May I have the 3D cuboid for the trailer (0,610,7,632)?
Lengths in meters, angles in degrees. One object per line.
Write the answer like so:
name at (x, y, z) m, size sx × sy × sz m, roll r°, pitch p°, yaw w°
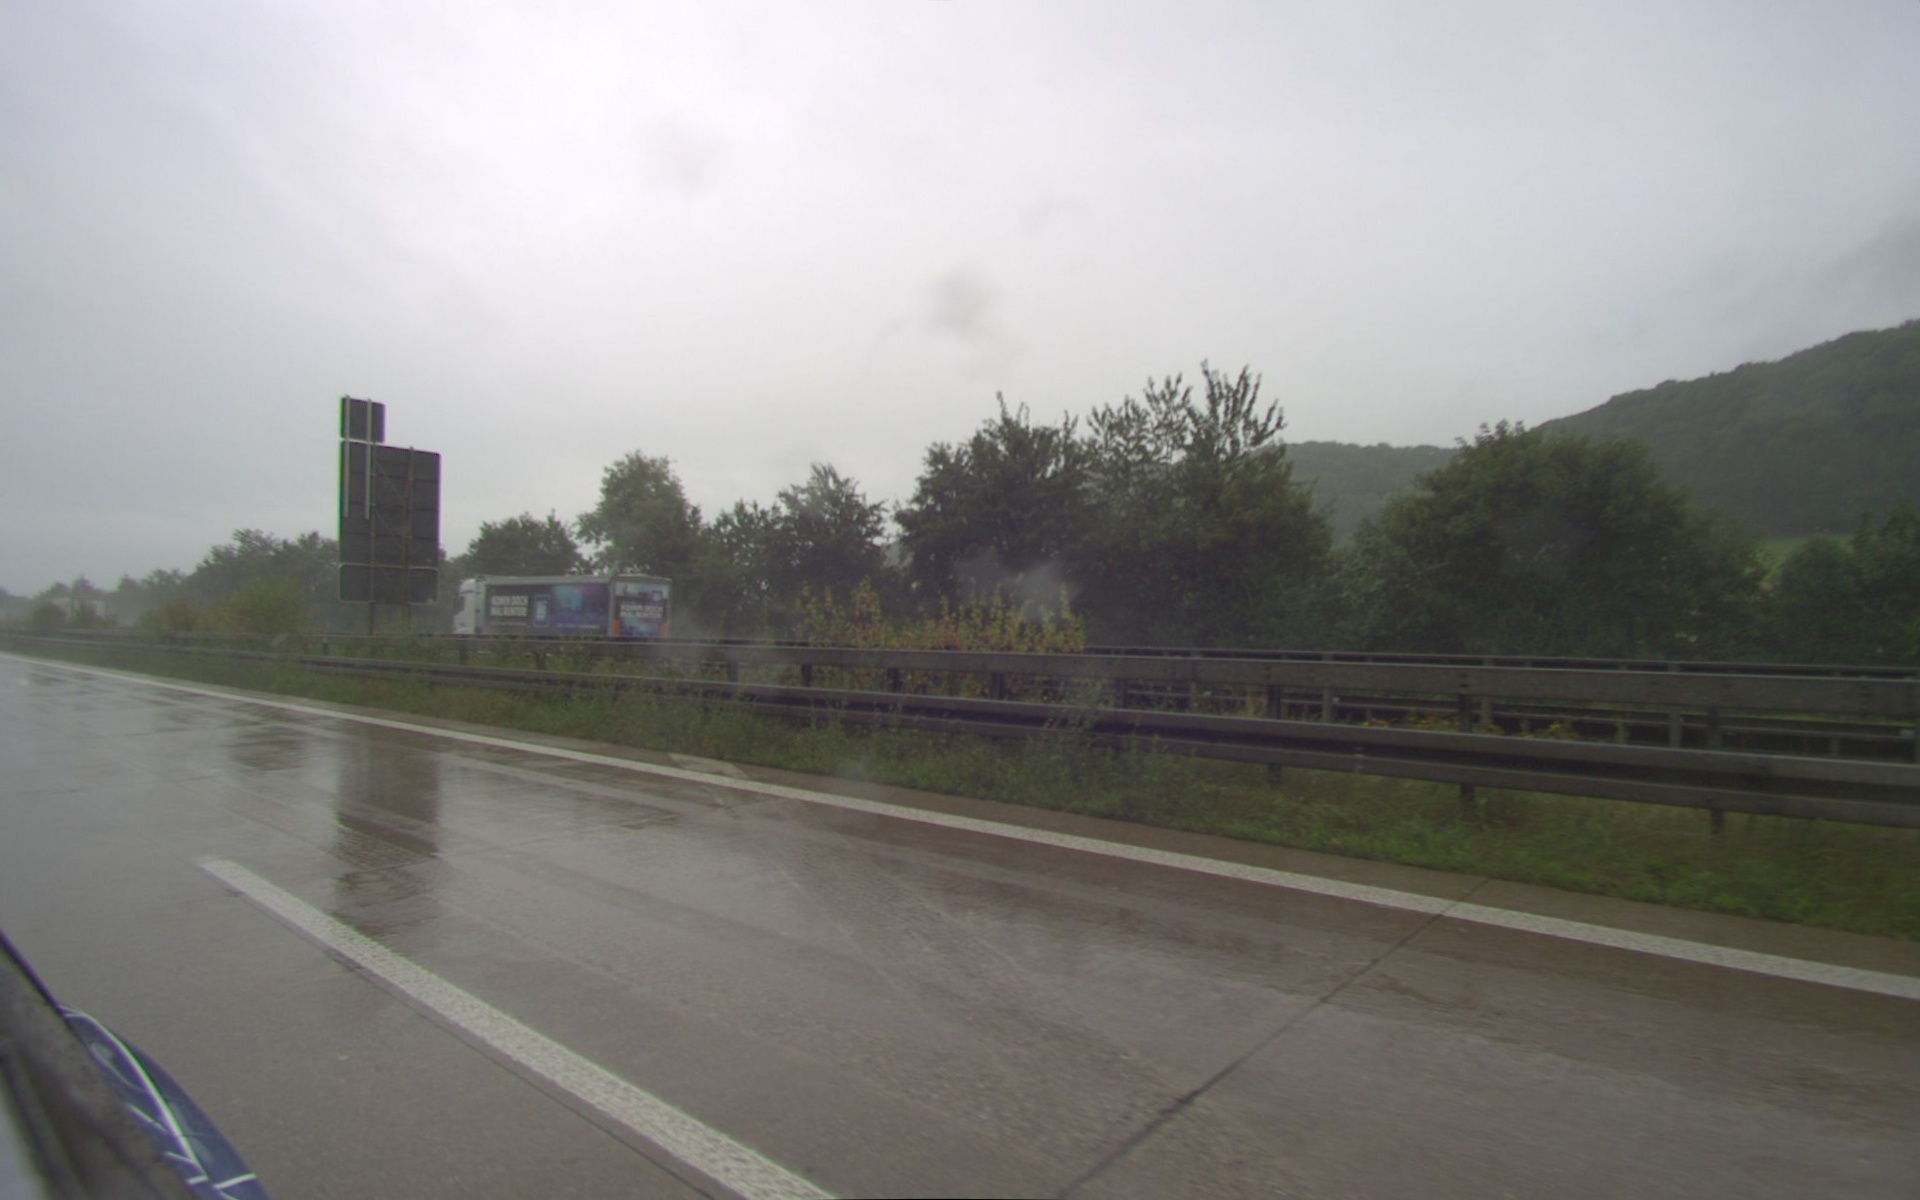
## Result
trailer at (-166.035, 3.637, 173.249) m, size 12.279 × 3.702 × 2.934 m, roll -1°, pitch -1°, yaw 41°

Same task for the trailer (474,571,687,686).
trailer at (-16.007, 1.149, 41.995) m, size 11.396 × 4.205 × 3.320 m, roll -1°, pitch -1°, yaw 41°

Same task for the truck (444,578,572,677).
truck at (-20.595, 1.211, 46.026) m, size 5.516 × 4.216 × 3.339 m, roll -1°, pitch -1°, yaw 40°

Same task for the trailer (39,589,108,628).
trailer at (-86.576, 0.840, 98.680) m, size 13.694 × 3.569 × 2.824 m, roll -1°, pitch 0°, yaw 39°
